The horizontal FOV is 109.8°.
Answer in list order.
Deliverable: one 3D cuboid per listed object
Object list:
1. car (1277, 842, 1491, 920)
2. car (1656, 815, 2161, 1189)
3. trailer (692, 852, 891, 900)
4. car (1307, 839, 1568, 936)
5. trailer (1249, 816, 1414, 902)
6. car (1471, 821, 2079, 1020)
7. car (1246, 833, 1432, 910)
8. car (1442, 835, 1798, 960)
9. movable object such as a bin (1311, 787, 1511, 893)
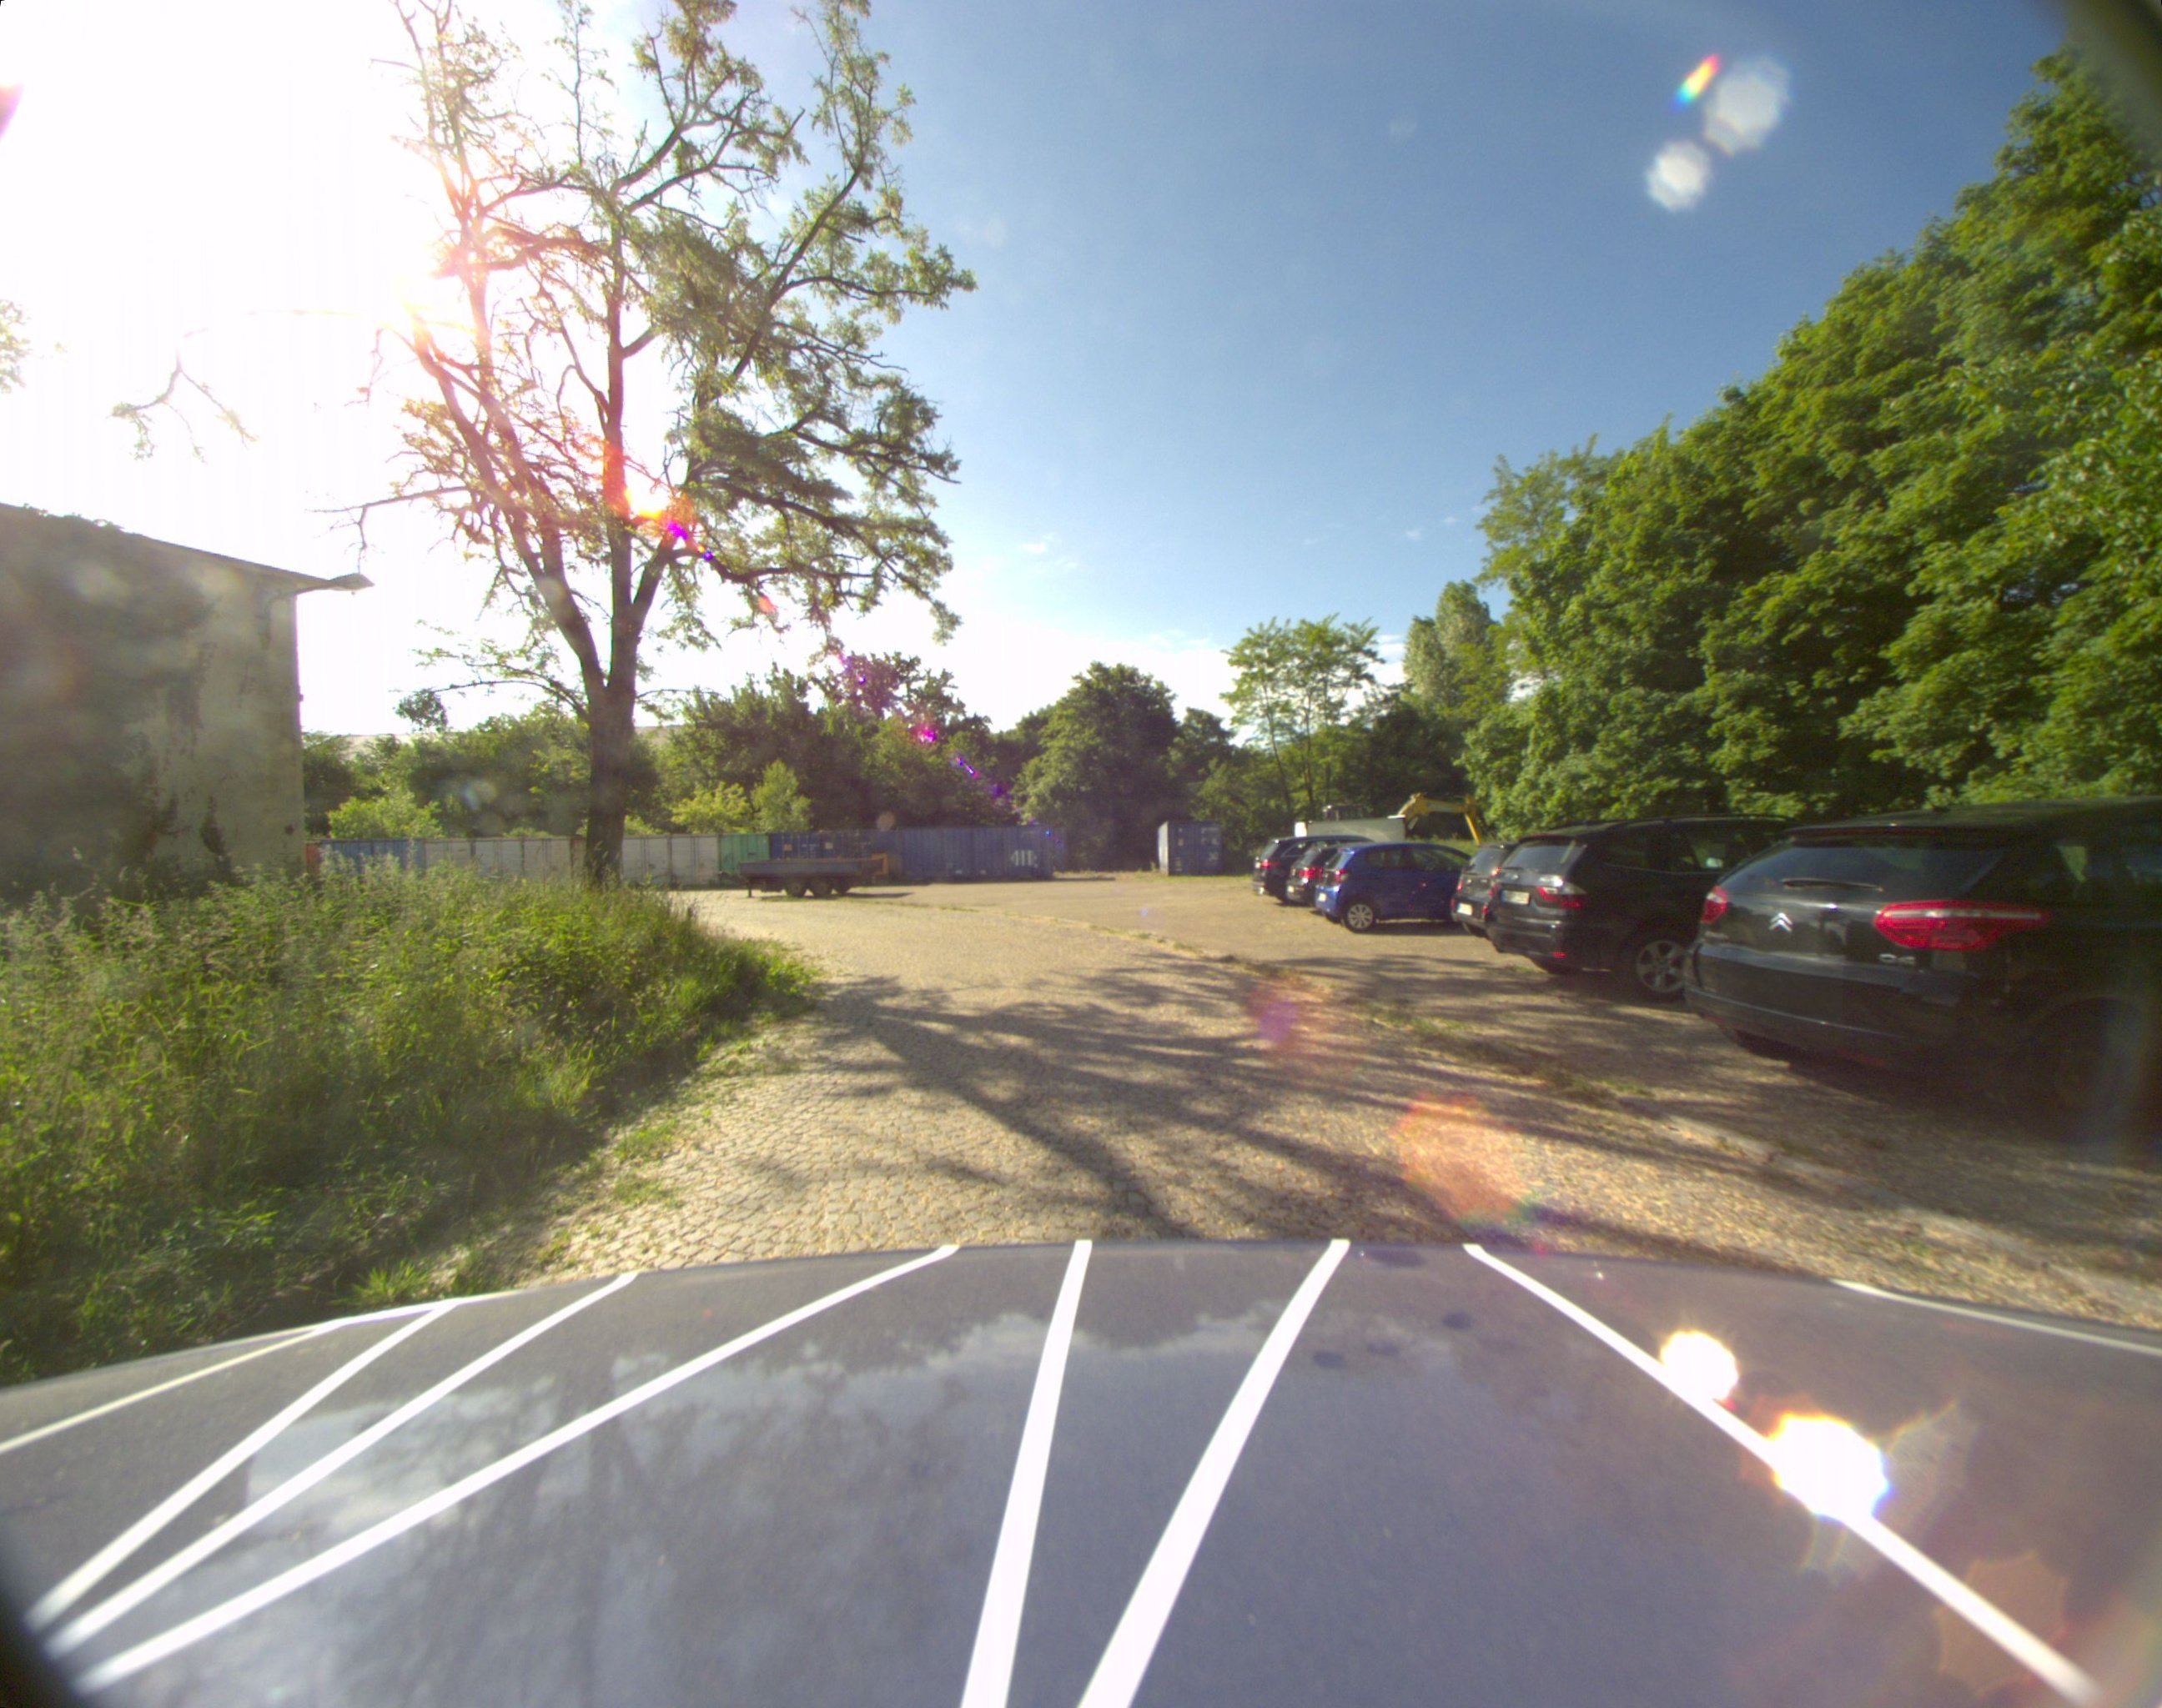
[{"bbox_3d":[6.048,0.516,15.514,3.659,1.443,1.834,-1,1,4],"label":"car"},{"bbox_3d":[6.058,0.613,4.284,4.297,1.642,1.793,-1,1,-1],"label":"car"},{"bbox_3d":[-10.959,0.806,29.197,6.486,1.509,2.855,-2,2,4],"label":"trailer"},{"bbox_3d":[5.877,0.533,12.909,3.659,1.484,1.715,-1,1,6],"label":"car"},{"bbox_3d":[6.772,0.133,20.850,3.968,2.082,1.639,-3,1,5],"label":"trailer"},{"bbox_3d":[6.377,0.574,7.425,4.186,1.646,1.818,-1,1,3],"label":"car"},{"bbox_3d":[5.976,0.386,17.964,3.816,1.632,1.869,-2,1,6],"label":"car"},{"bbox_3d":[7.016,0.548,10.252,3.546,1.507,1.679,-1,1,9],"label":"car"},{"bbox_3d":[9.780,-0.377,22.890,5.157,2.949,2.001,-1,1,8],"label":"movable object such as a bin"}]
